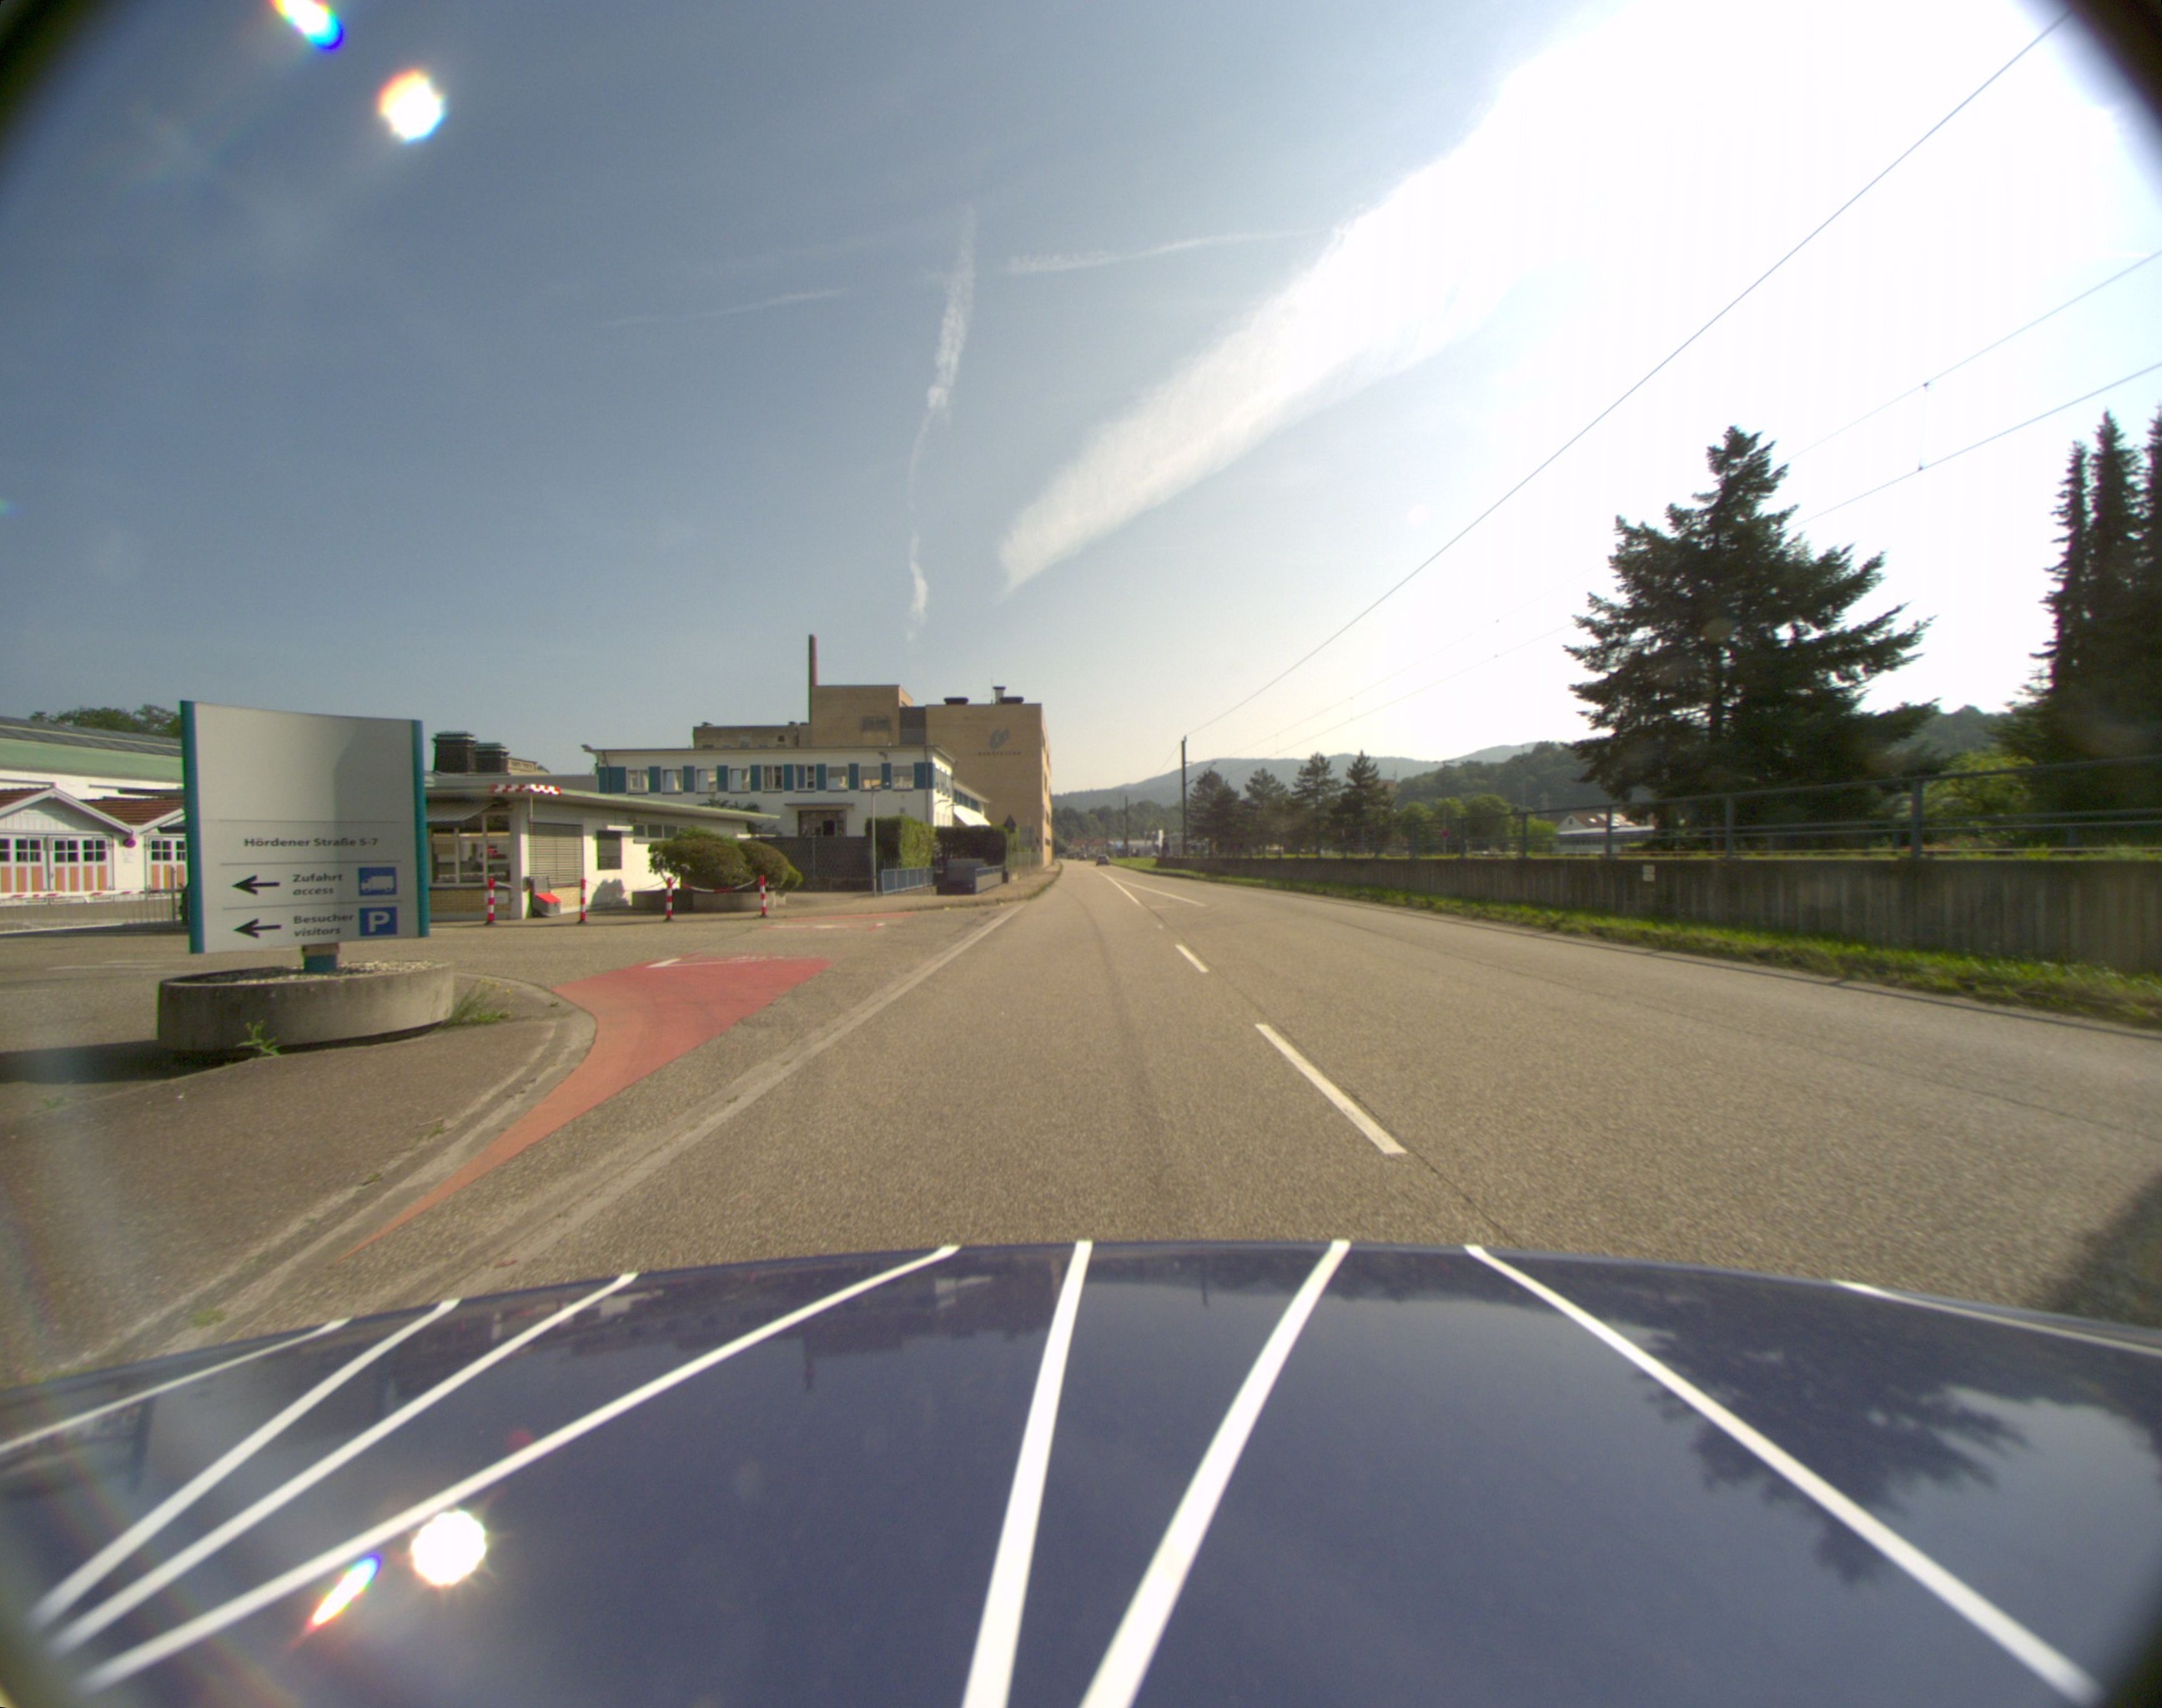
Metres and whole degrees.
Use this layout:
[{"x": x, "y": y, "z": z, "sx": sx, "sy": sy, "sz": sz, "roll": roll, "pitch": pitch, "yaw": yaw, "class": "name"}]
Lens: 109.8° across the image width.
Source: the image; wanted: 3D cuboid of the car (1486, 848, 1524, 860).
[{"x": 46.332, "y": -0.017, "z": 83.005, "sx": 3.527, "sy": 1.317, "sz": 1.460, "roll": 0, "pitch": 1, "yaw": 32, "class": "car"}]

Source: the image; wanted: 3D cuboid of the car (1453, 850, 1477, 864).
[{"x": 35.356, "y": 0.261, "z": 69.879, "sx": 1.453, "sy": 1.317, "sz": 3.544, "roll": 0, "pitch": 1, "yaw": 36, "class": "car"}]

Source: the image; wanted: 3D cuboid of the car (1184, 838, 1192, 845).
[{"x": 36.741, "y": -4.333, "z": 261.803, "sx": 1.763, "sy": 2.066, "sz": 4.806, "roll": -2, "pitch": 0, "yaw": -3, "class": "car"}]

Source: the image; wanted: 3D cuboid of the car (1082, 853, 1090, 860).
[{"x": 1.198, "y": 0.600, "z": 176.727, "sx": 1.735, "sy": 1.517, "sz": 4.092, "roll": -2, "pitch": 0, "yaw": 0, "class": "car"}]

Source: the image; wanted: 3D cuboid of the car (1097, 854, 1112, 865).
[{"x": 3.298, "y": 0.811, "z": 108.171, "sx": 1.746, "sy": 1.498, "sz": 4.198, "roll": -1, "pitch": 1, "yaw": -2, "class": "car"}]

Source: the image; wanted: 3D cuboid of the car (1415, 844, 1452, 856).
[{"x": 38.468, "y": -0.429, "z": 82.929, "sx": 3.527, "sy": 1.317, "sz": 1.460, "roll": 0, "pitch": 1, "yaw": 31, "class": "car"}]
